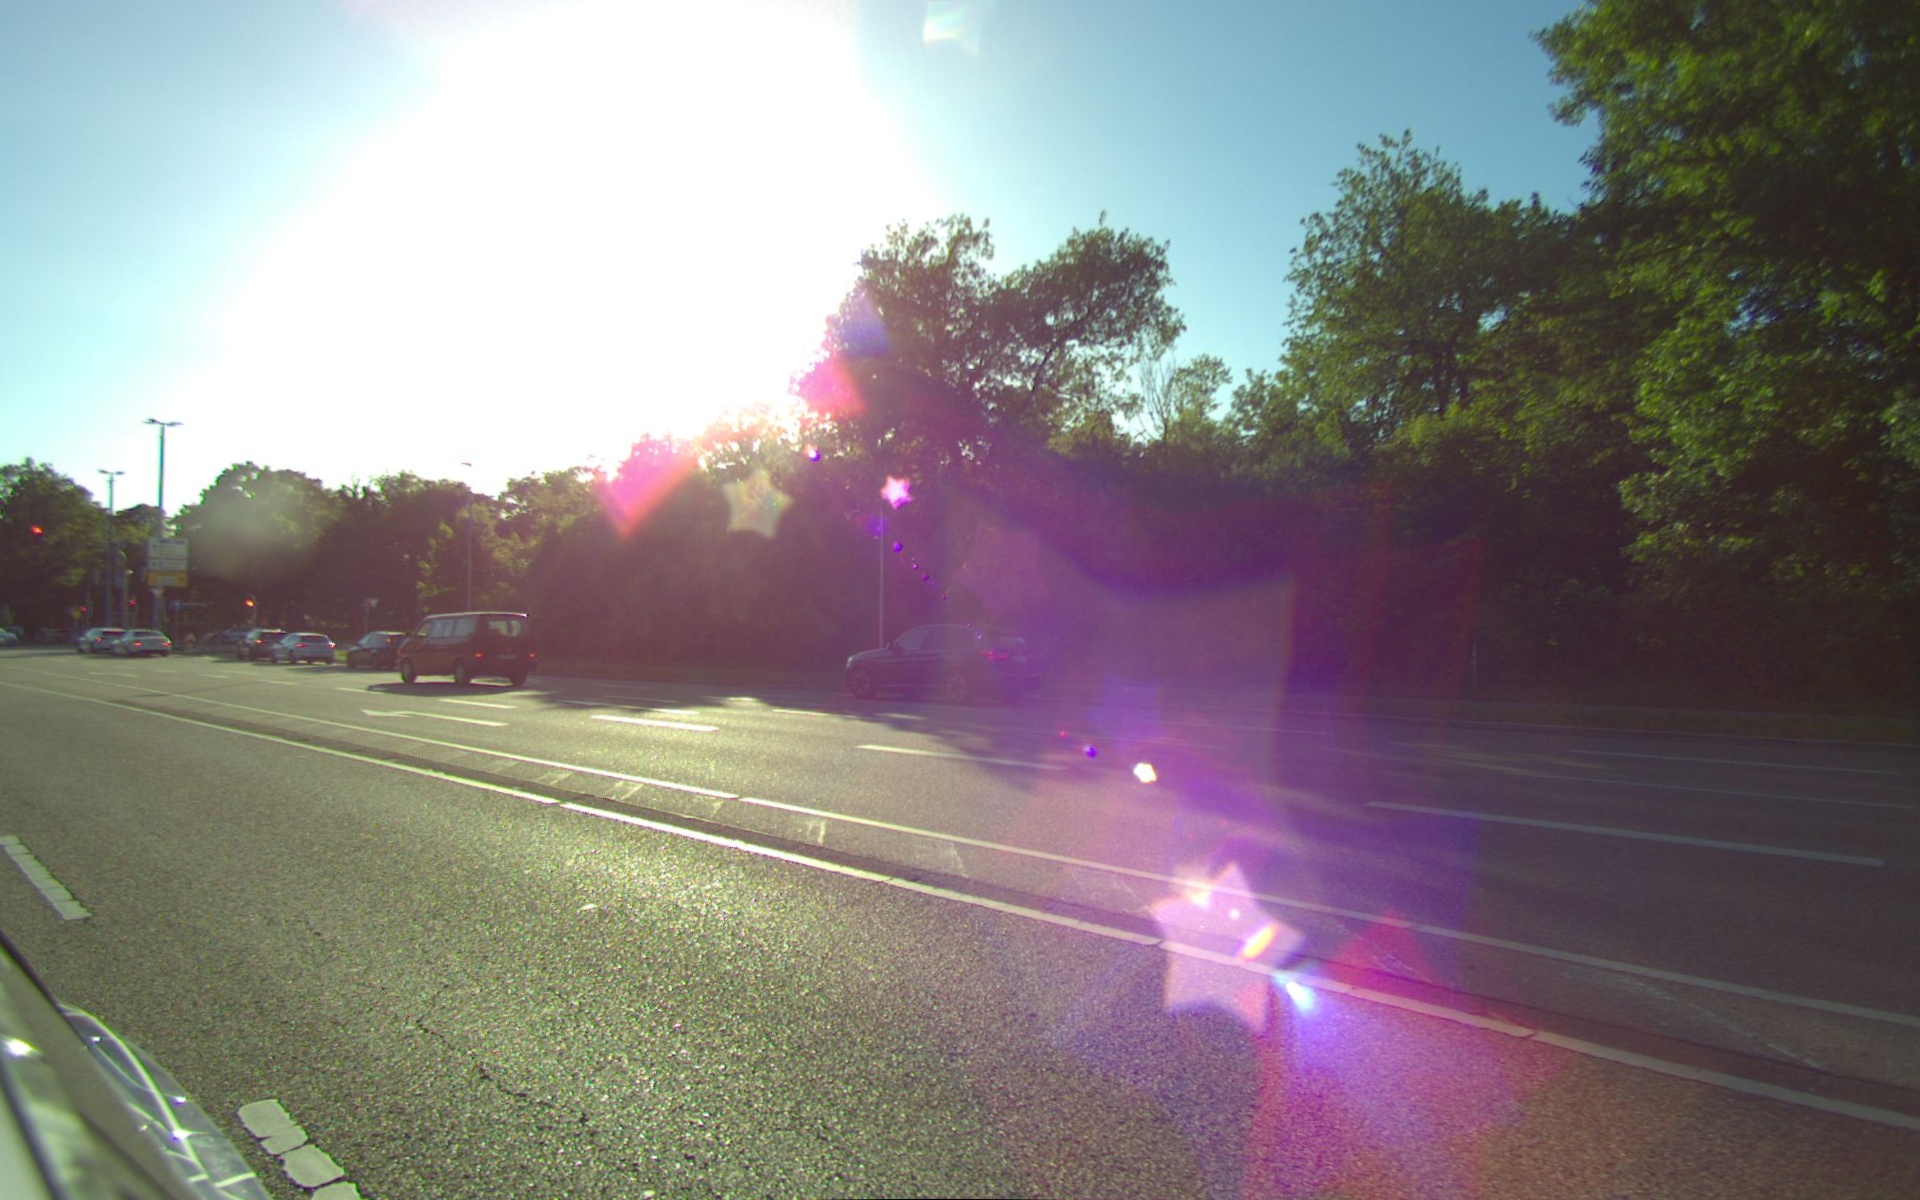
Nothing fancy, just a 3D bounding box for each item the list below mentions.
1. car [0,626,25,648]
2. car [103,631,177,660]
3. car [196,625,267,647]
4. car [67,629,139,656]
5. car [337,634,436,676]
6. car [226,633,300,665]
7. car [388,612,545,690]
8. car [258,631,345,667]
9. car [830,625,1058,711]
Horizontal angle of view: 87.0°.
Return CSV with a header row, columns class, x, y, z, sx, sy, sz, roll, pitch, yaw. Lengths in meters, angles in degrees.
class,x,y,z,sx,sy,sz,roll,pitch,yaw
car,-68.090,2.553,70.426,3.934,1.530,2.005,0,-2,-12
car,-43.756,2.431,53.970,4.640,1.462,1.975,-1,-4,37
car,-60.132,2.978,83.587,4.663,1.700,2.005,1,-3,-34
car,-49.570,2.453,58.536,4.831,1.462,1.976,-1,-4,35
car,-23.475,2.230,41.382,4.644,1.576,1.973,-1,-5,40
car,-36.402,2.545,52.830,4.644,1.576,1.973,-1,-5,40
car,-13.597,1.378,27.790,4.640,1.977,1.975,-1,-4,37
car,-31.380,2.344,48.203,4.641,1.576,1.974,-1,-5,38
car,-0.435,1.387,21.793,4.840,1.649,1.973,-2,-3,40
